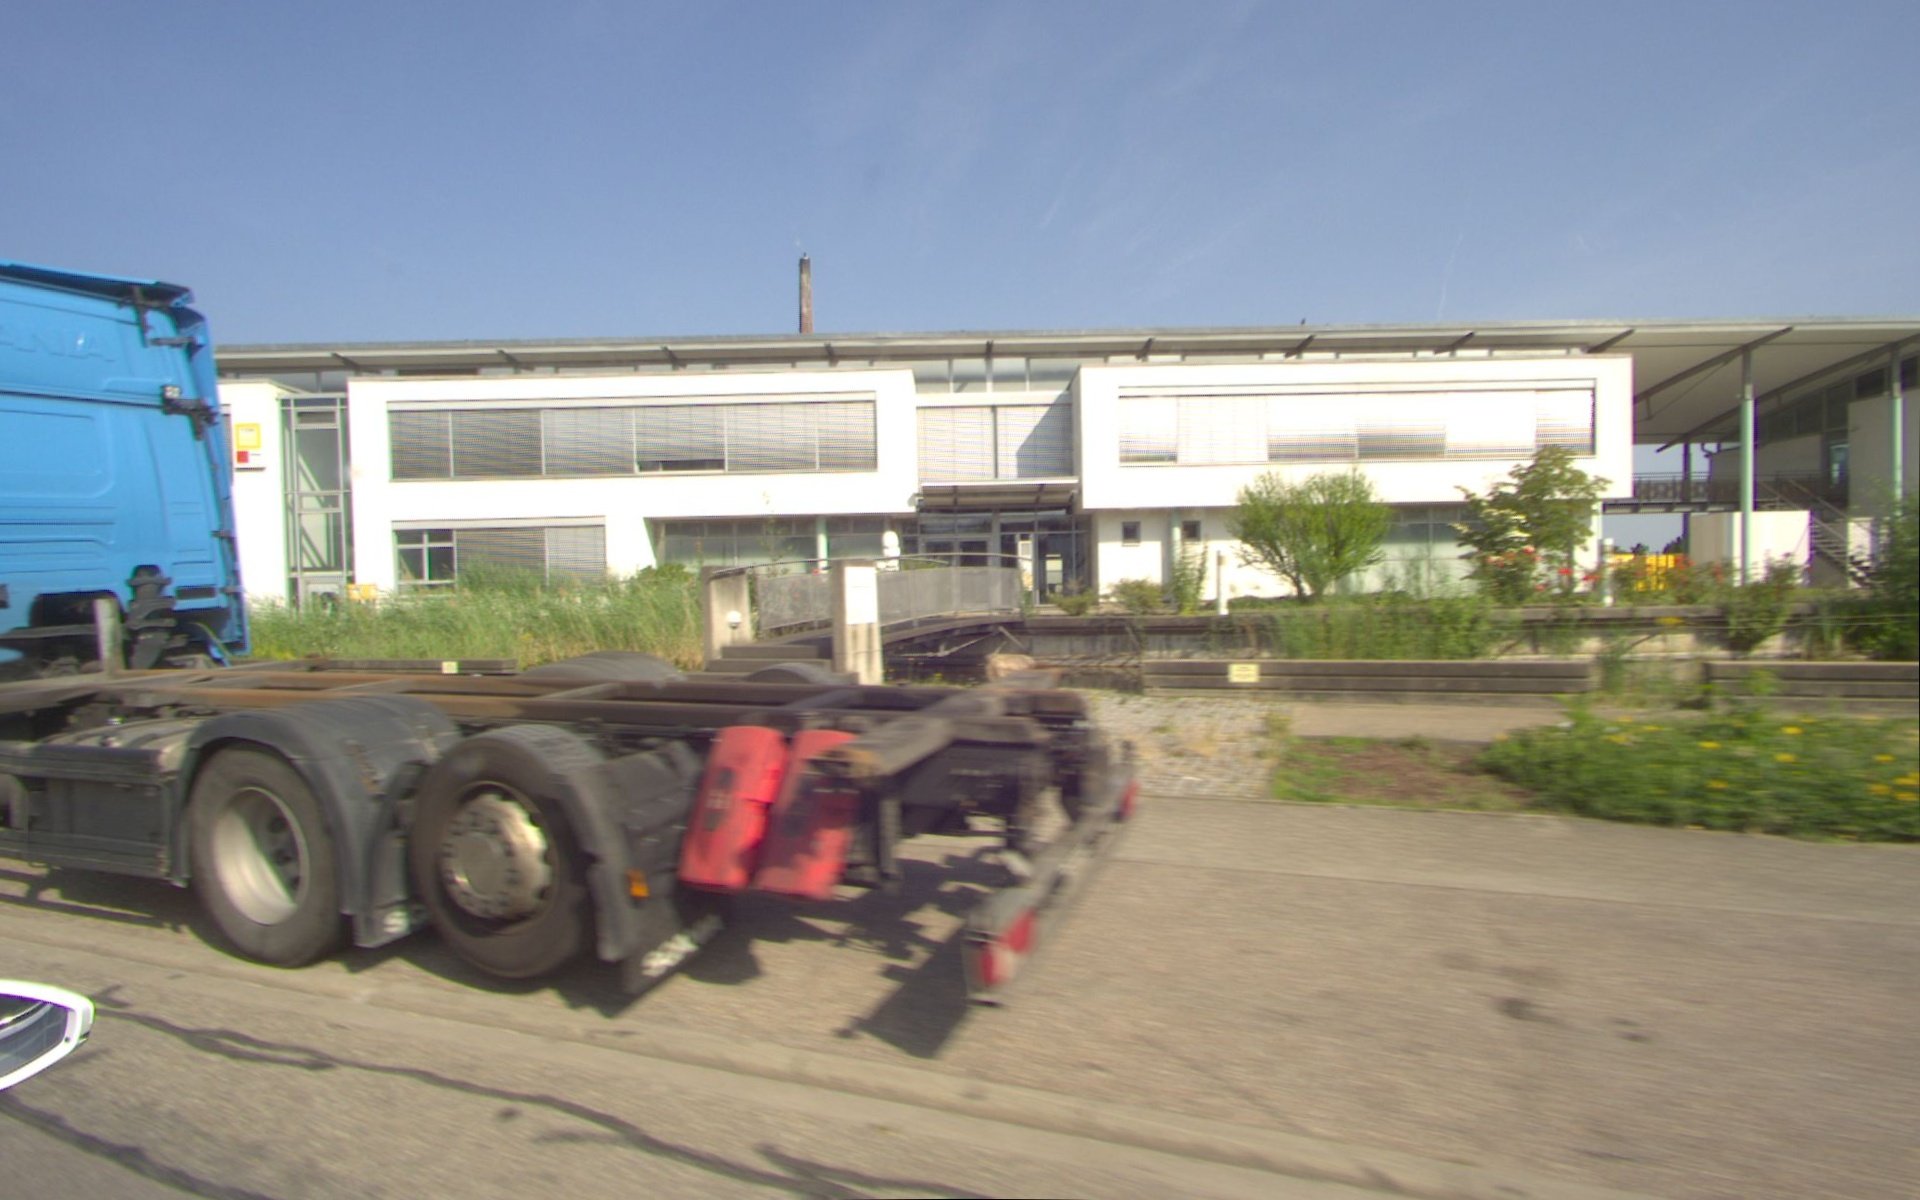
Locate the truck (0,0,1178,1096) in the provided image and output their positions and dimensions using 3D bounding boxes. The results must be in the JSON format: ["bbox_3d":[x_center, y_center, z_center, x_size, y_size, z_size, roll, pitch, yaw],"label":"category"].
[{"bbox_3d":[-3.851,-0.313,5.906,9.591,3.585,2.887,-2,4,22],"label":"truck"}]
